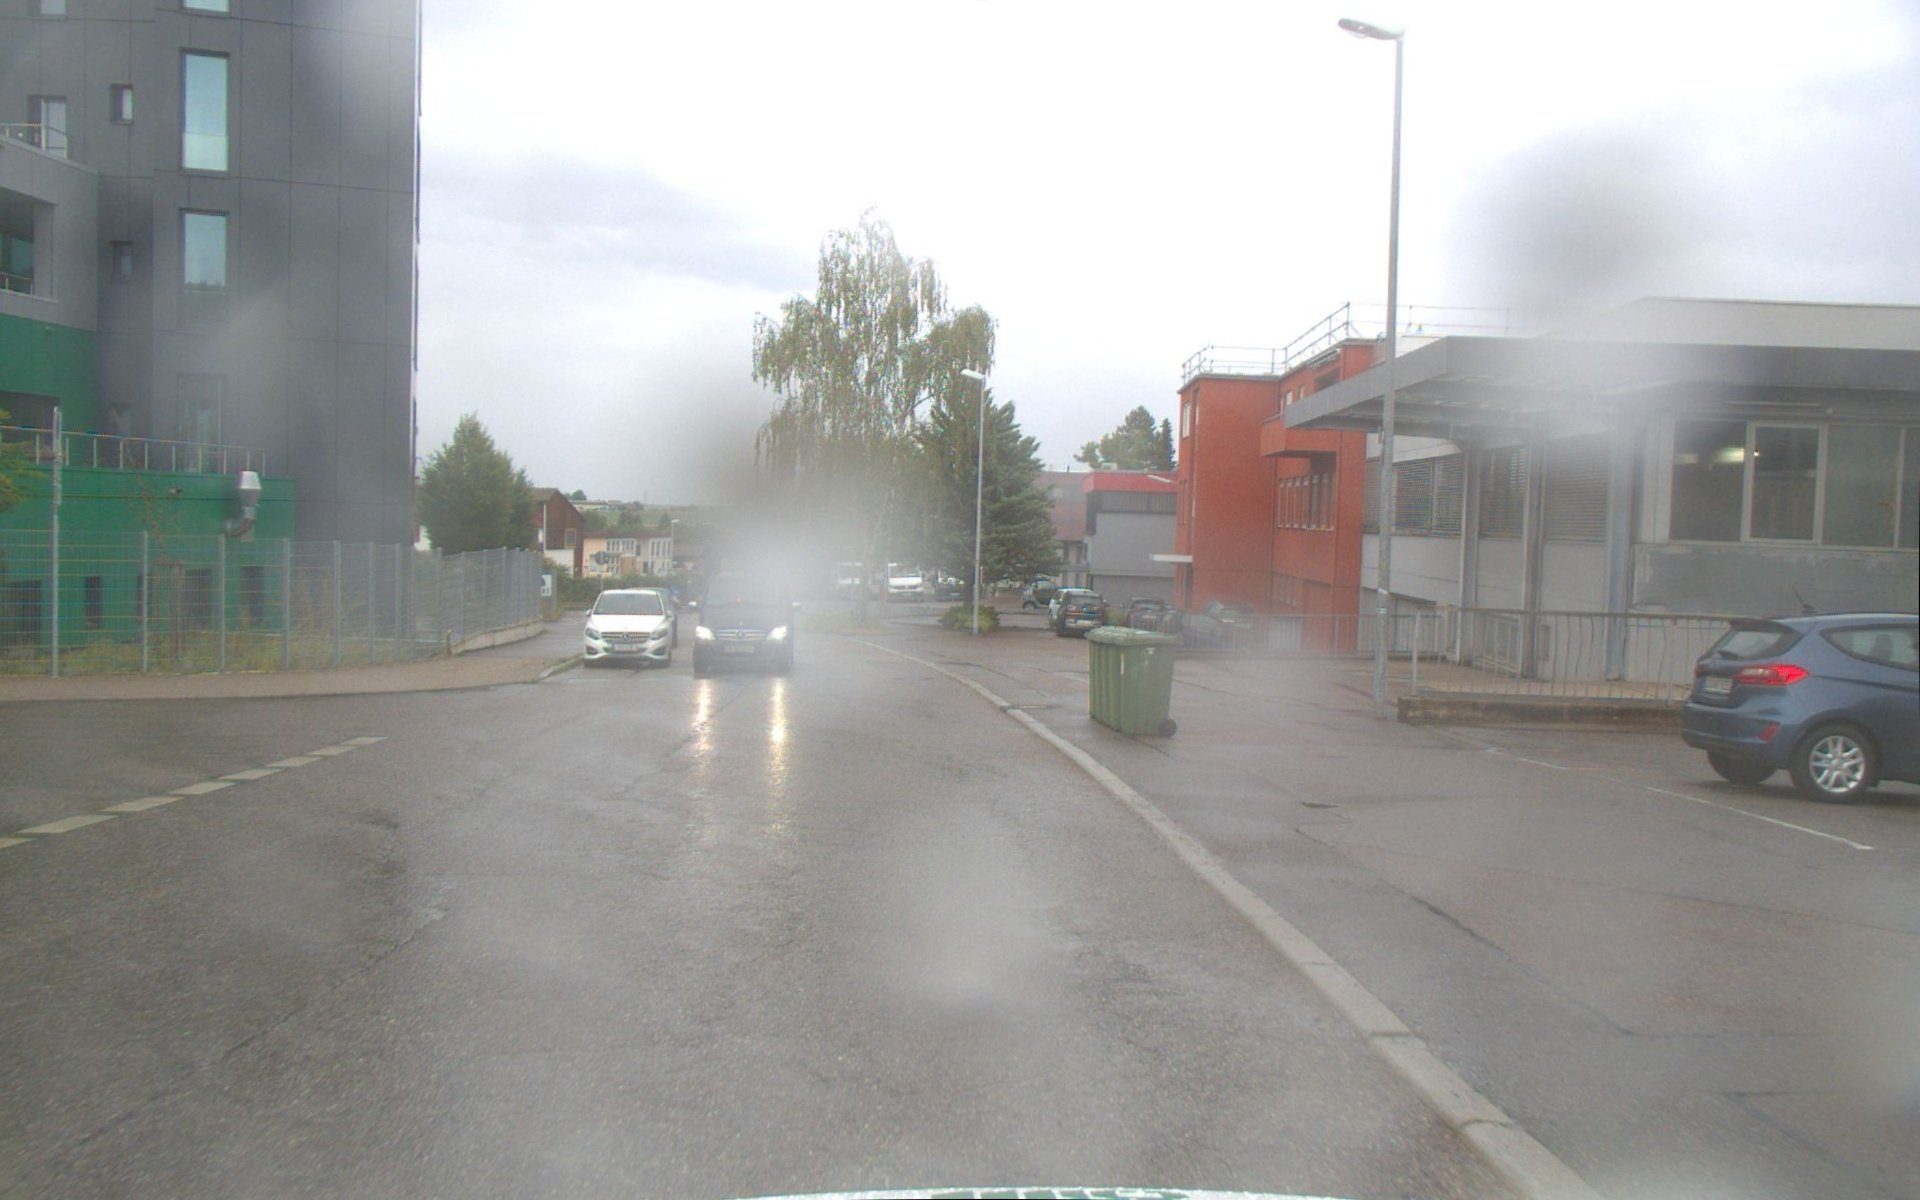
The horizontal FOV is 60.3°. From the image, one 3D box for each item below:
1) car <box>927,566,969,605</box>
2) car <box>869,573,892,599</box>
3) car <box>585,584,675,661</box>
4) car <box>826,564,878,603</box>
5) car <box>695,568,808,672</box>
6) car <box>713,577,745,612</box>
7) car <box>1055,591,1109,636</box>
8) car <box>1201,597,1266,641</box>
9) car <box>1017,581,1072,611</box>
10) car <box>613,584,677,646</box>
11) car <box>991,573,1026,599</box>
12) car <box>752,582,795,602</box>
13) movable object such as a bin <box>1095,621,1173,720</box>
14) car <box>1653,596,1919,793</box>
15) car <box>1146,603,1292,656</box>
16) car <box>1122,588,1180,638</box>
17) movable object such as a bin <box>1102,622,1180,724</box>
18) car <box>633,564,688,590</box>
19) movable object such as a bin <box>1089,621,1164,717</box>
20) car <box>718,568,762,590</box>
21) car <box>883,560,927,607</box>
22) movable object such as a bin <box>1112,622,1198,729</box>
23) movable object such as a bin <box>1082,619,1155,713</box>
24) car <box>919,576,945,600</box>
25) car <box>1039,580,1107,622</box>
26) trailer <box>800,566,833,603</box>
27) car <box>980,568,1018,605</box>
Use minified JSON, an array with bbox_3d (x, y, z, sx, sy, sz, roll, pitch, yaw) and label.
[{"bbox_3d":[-0.691,-0.806,94.143,2.103,2.049,3.935,1,-1,-5],"label":"car"},{"bbox_3d":[-4.788,-0.823,98.888,1.265,1.449,2.543,1,-1,-5],"label":"car"},{"bbox_3d":[-6.961,0.481,35.238,1.738,1.539,4.135,0,-1,-10],"label":"car"},{"bbox_3d":[-6.089,-0.925,92.887,2.226,2.049,3.986,1,-1,-13],"label":"car"},{"bbox_3d":[-4.125,0.363,33.397,1.847,1.919,5.069,1,0,-3],"label":"car"},{"bbox_3d":[-14.243,-0.309,102.041,1.834,2.064,3.994,1,-1,-7],"label":"car"},{"bbox_3d":[4.254,0.501,58.091,1.662,1.501,4.000,1,-1,2],"label":"car"},{"bbox_3d":[9.527,0.683,57.783,1.693,1.447,4.000,1,-1,1],"label":"car"},{"bbox_3d":[4.091,-0.186,80.227,2.497,1.375,1.241,1,0,-4],"label":"car"},{"bbox_3d":[-8.804,0.385,46.229,1.670,1.637,3.990,0,1,-11],"label":"car"},{"bbox_3d":[2.924,-0.817,100.302,1.606,1.479,3.505,1,-1,-8],"label":"car"},{"bbox_3d":[-15.643,-0.644,138.579,2.429,1.566,3.969,1,-1,-25],"label":"car"},{"bbox_3d":[1.983,0.798,18.911,0.793,1.109,0.541,1,0,-4],"label":"movable object such as a bin"},{"bbox_3d":[7.857,0.781,13.256,3.815,1.408,1.821,3,-1,1],"label":"car"},{"bbox_3d":[6.259,0.701,40.195,3.329,1.183,1.792,1,0,3],"label":"car"},{"bbox_3d":[6.746,0.466,58.703,1.703,1.682,4.000,1,-1,1],"label":"car"},{"bbox_3d":[2.000,0.801,18.336,0.759,1.095,0.583,1,0,-3],"label":"movable object such as a bin"},{"bbox_3d":[-23.750,-1.838,131.118,3.904,1.914,2.001,1,0,2],"label":"car"},{"bbox_3d":[1.951,0.803,19.472,0.793,1.095,0.581,1,0,-3],"label":"movable object such as a bin"},{"bbox_3d":[-22.952,-2.187,172.764,4.150,2.265,2.001,1,-1,8],"label":"car"},{"bbox_3d":[-3.130,-0.916,93.249,2.151,2.502,3.994,1,-1,-6],"label":"car"},{"bbox_3d":[2.078,0.797,17.686,0.790,1.112,0.709,1,0,-3],"label":"movable object such as a bin"},{"bbox_3d":[1.916,0.792,20.076,0.786,1.098,0.624,1,0,-3],"label":"movable object such as a bin"},{"bbox_3d":[-1.674,-0.720,99.810,1.371,1.349,2.698,1,-1,-5],"label":"car"},{"bbox_3d":[4.449,0.066,65.574,2.025,1.579,3.994,1,-1,-6],"label":"car"},{"bbox_3d":[-8.412,-0.911,96.954,1.817,2.049,3.995,1,0,-6],"label":"trailer"},{"bbox_3d":[2.210,-0.747,94.462,1.746,2.049,3.629,1,-1,-5],"label":"car"}]
